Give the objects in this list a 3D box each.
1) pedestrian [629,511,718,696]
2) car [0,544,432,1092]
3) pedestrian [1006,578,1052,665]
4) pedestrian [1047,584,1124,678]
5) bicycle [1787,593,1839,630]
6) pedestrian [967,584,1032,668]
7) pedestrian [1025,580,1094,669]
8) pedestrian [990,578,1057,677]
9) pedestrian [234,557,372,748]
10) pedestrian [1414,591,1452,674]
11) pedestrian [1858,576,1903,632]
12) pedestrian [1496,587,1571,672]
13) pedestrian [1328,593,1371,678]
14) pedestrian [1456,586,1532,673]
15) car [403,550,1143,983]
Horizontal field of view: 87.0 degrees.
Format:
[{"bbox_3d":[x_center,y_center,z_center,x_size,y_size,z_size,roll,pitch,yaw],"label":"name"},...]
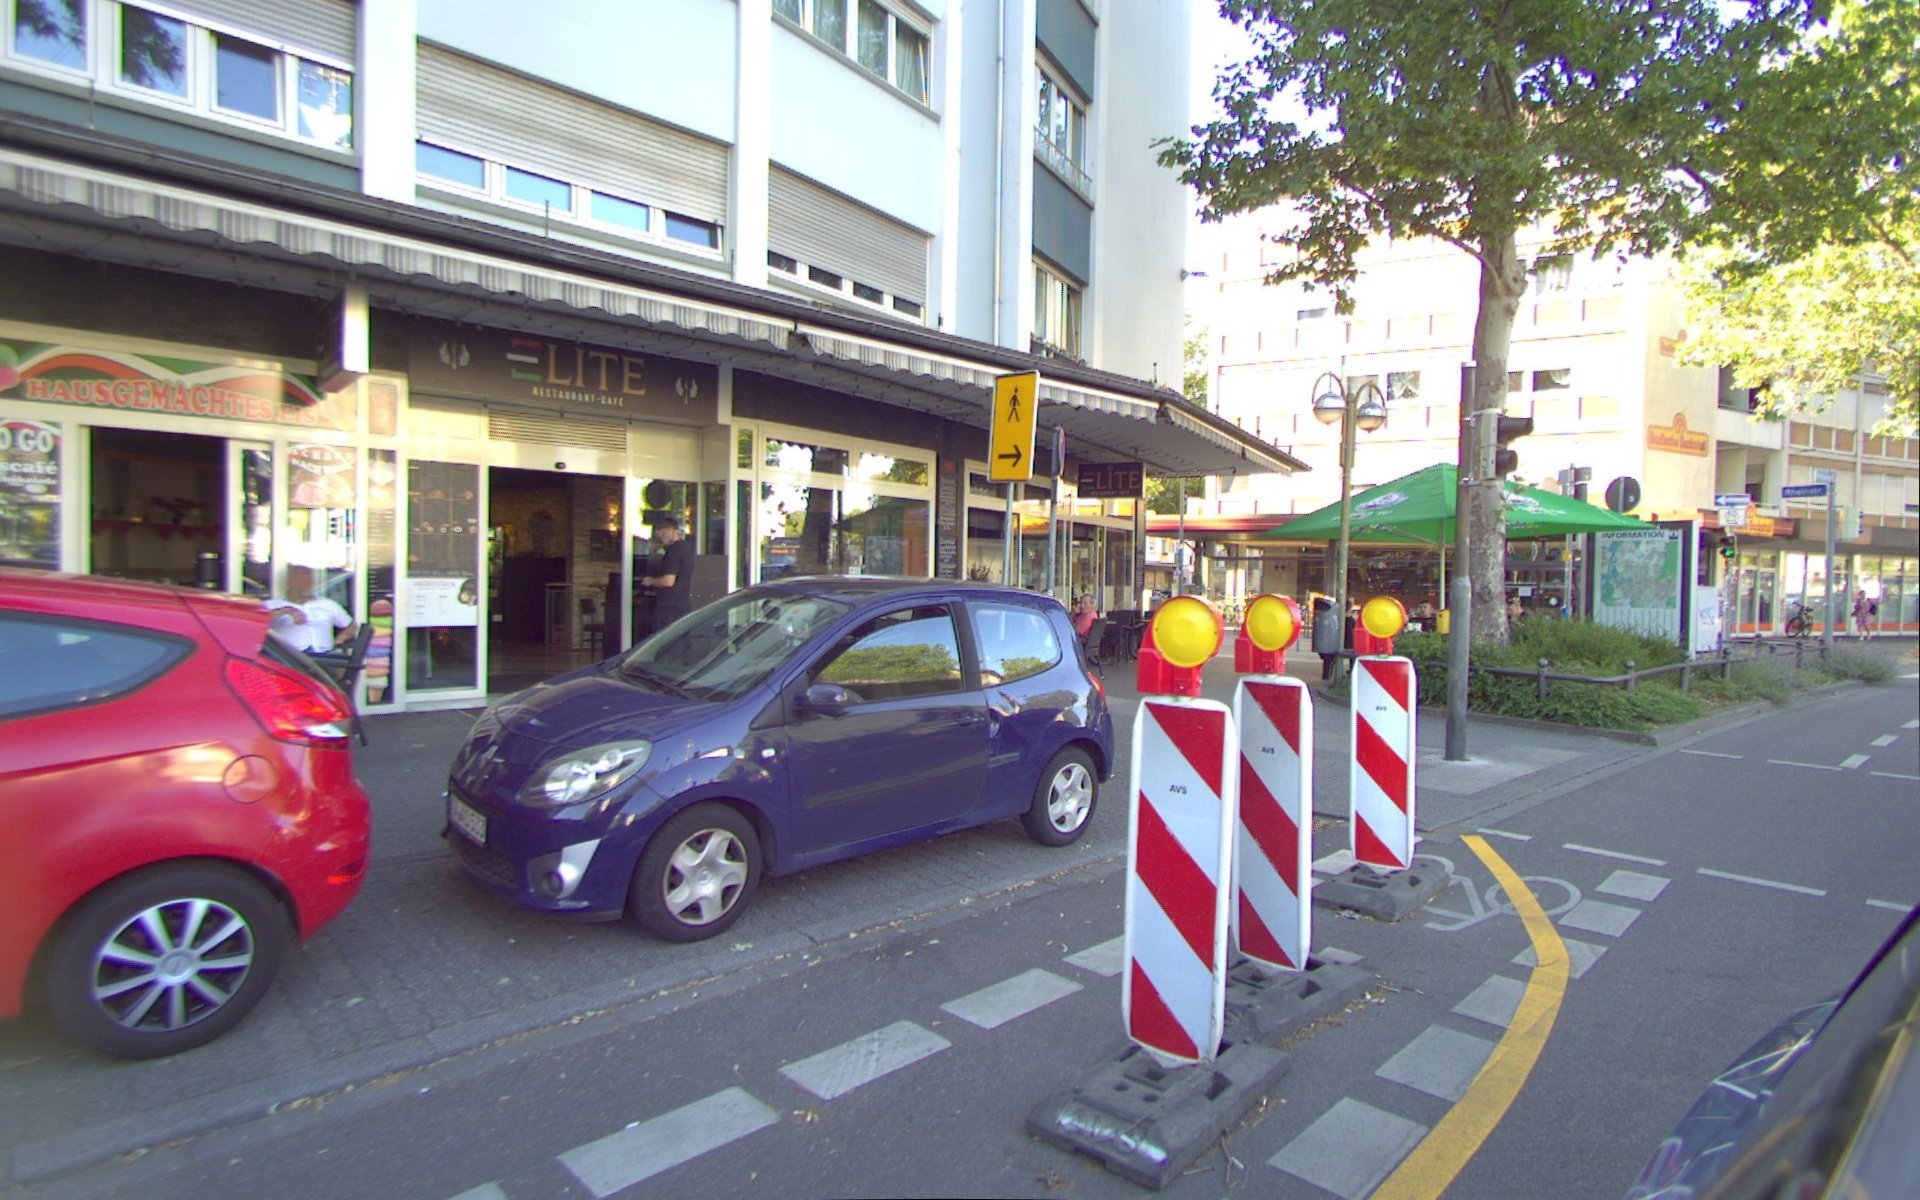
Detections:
[{"bbox_3d":[-2.842,0.016,10.024,0.579,1.756,0.596,1,3,-43],"label":"pedestrian"},{"bbox_3d":[-3.752,0.570,2.743,1.667,1.446,3.786,5,4,44],"label":"car"},{"bbox_3d":[1.034,0.318,15.168,0.541,1.259,0.521,3,1,-7],"label":"pedestrian"},{"bbox_3d":[1.725,0.412,13.917,0.838,1.213,0.644,3,1,27],"label":"pedestrian"},{"bbox_3d":[27.969,0.379,33.178,1.933,1.157,0.530,0,1,-26],"label":"bicycle"},{"bbox_3d":[0.571,0.362,14.545,0.710,1.144,0.645,3,1,24],"label":"pedestrian"},{"bbox_3d":[1.455,0.342,14.808,0.664,1.233,0.706,3,1,43],"label":"pedestrian"},{"bbox_3d":[0.862,0.356,13.642,0.644,1.267,0.711,3,1,25],"label":"pedestrian"},{"bbox_3d":[-4.946,0.335,7.593,0.765,1.247,1.207,0,5,-38],"label":"pedestrian"},{"bbox_3d":[7.322,0.486,15.668,0.427,1.234,0.465,3,2,20],"label":"pedestrian"},{"bbox_3d":[29.667,0.128,32.610,0.883,1.779,0.751,1,1,-24],"label":"pedestrian"},{"bbox_3d":[9.134,0.456,16.124,0.753,1.301,0.720,1,1,-28],"label":"pedestrian"},{"bbox_3d":[5.728,0.511,14.892,0.460,1.235,0.432,1,0,5],"label":"pedestrian"},{"bbox_3d":[8.285,0.443,15.720,0.752,1.301,0.721,1,1,-27],"label":"pedestrian"},{"bbox_3d":[-0.773,0.558,5.395,3.545,1.484,1.621,0,4,-44],"label":"car"}]
